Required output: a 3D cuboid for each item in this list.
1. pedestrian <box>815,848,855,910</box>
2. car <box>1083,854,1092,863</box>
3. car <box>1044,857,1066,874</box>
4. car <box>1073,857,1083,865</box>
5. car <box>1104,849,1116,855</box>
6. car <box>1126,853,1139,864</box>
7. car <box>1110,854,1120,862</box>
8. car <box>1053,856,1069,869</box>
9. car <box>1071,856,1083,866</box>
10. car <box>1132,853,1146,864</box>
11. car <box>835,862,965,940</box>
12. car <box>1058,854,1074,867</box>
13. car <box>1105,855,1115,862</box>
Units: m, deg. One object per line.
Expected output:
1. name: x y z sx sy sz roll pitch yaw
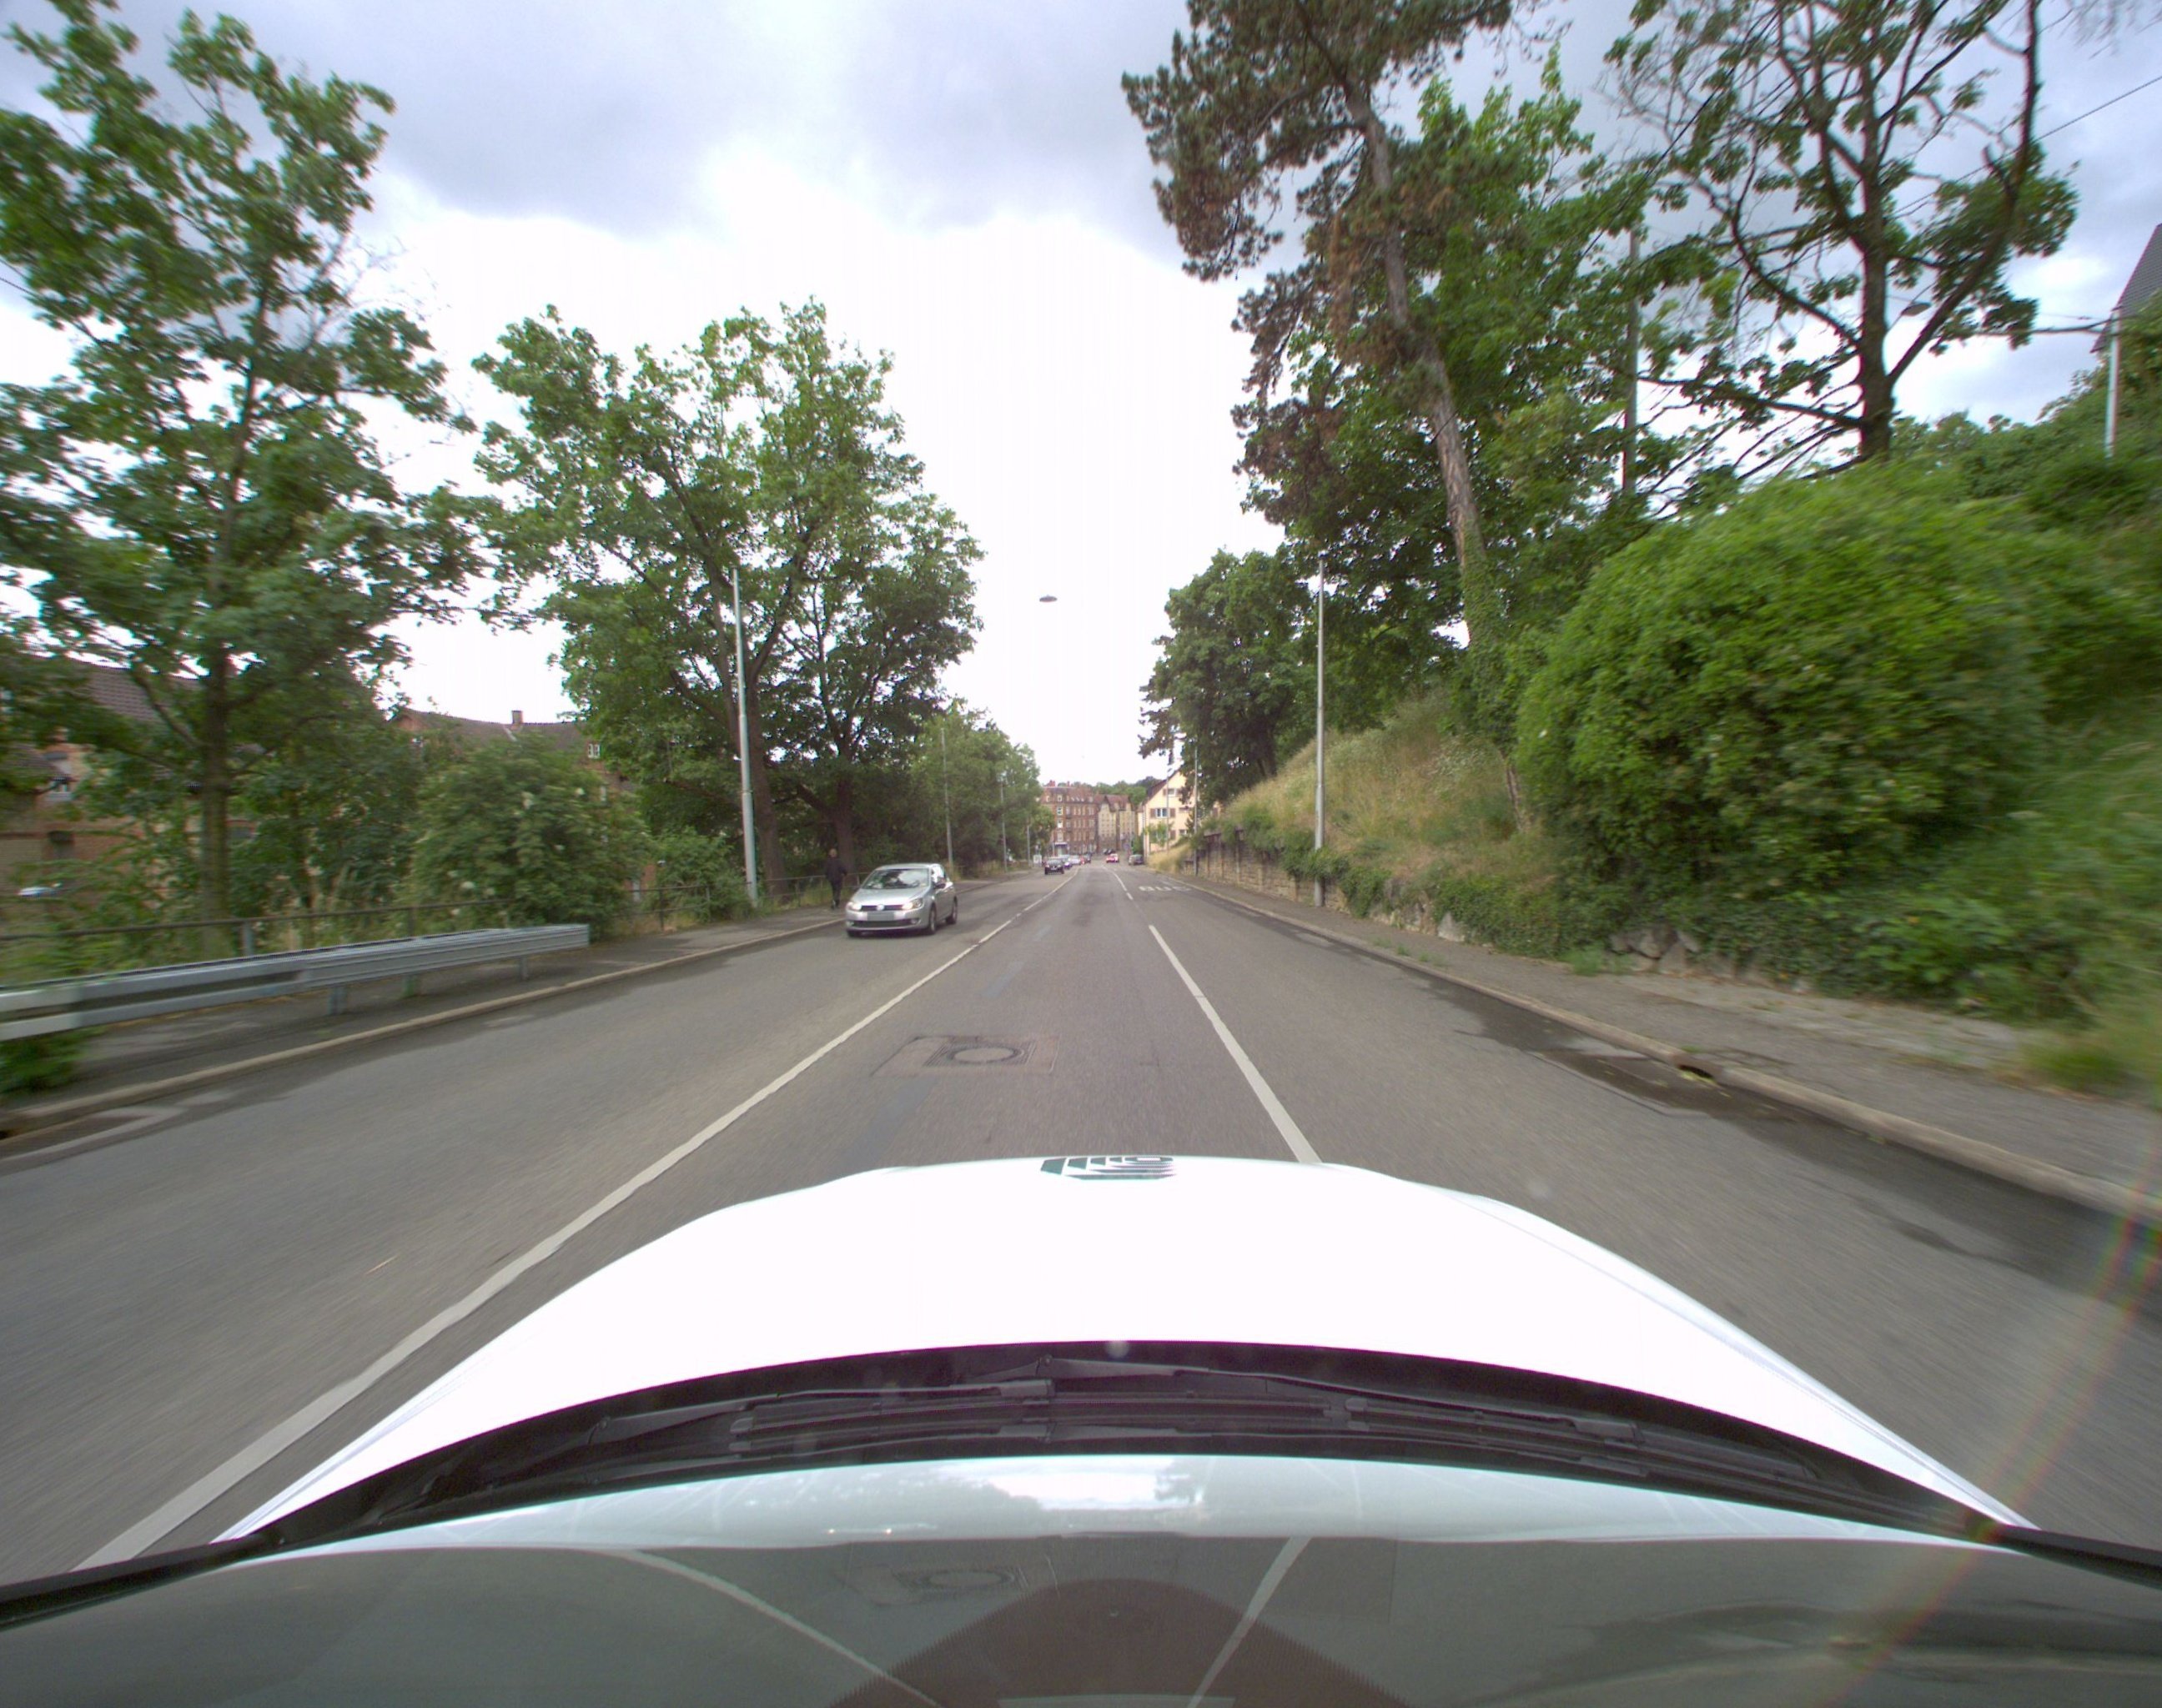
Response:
1. pedestrian: -7.310 0.727 24.229 0.786 1.774 1.208 2 0 -1
2. car: 1.365 0.987 166.932 1.777 1.746 4.430 -2 0 1
3. car: -2.279 0.988 71.687 1.662 1.447 3.690 -2 0 2
4. car: -0.538 1.224 147.787 1.778 1.459 4.429 -2 0 1
5. car: 8.415 -0.717 234.894 1.964 1.575 4.399 -3 0 22
6. car: 7.838 0.617 123.404 1.786 1.451 4.724 -5 0 5
7. car: 7.523 0.850 181.517 1.900 1.884 4.006 0 0 6
8. car: -2.344 0.998 95.892 1.707 1.427 4.138 -2 0 0
9. car: -0.560 1.094 130.587 1.778 1.574 4.281 -2 0 1
10. car: 8.115 0.665 114.320 1.676 1.451 4.001 -5 -1 1
11. car: -3.826 0.937 17.952 1.788 1.427 4.144 -2 0 1
12. car: -2.001 0.831 111.361 1.988 1.683 4.664 -2 0 1
13. car: 6.172 1.040 174.677 1.807 1.430 4.006 0 0 6
